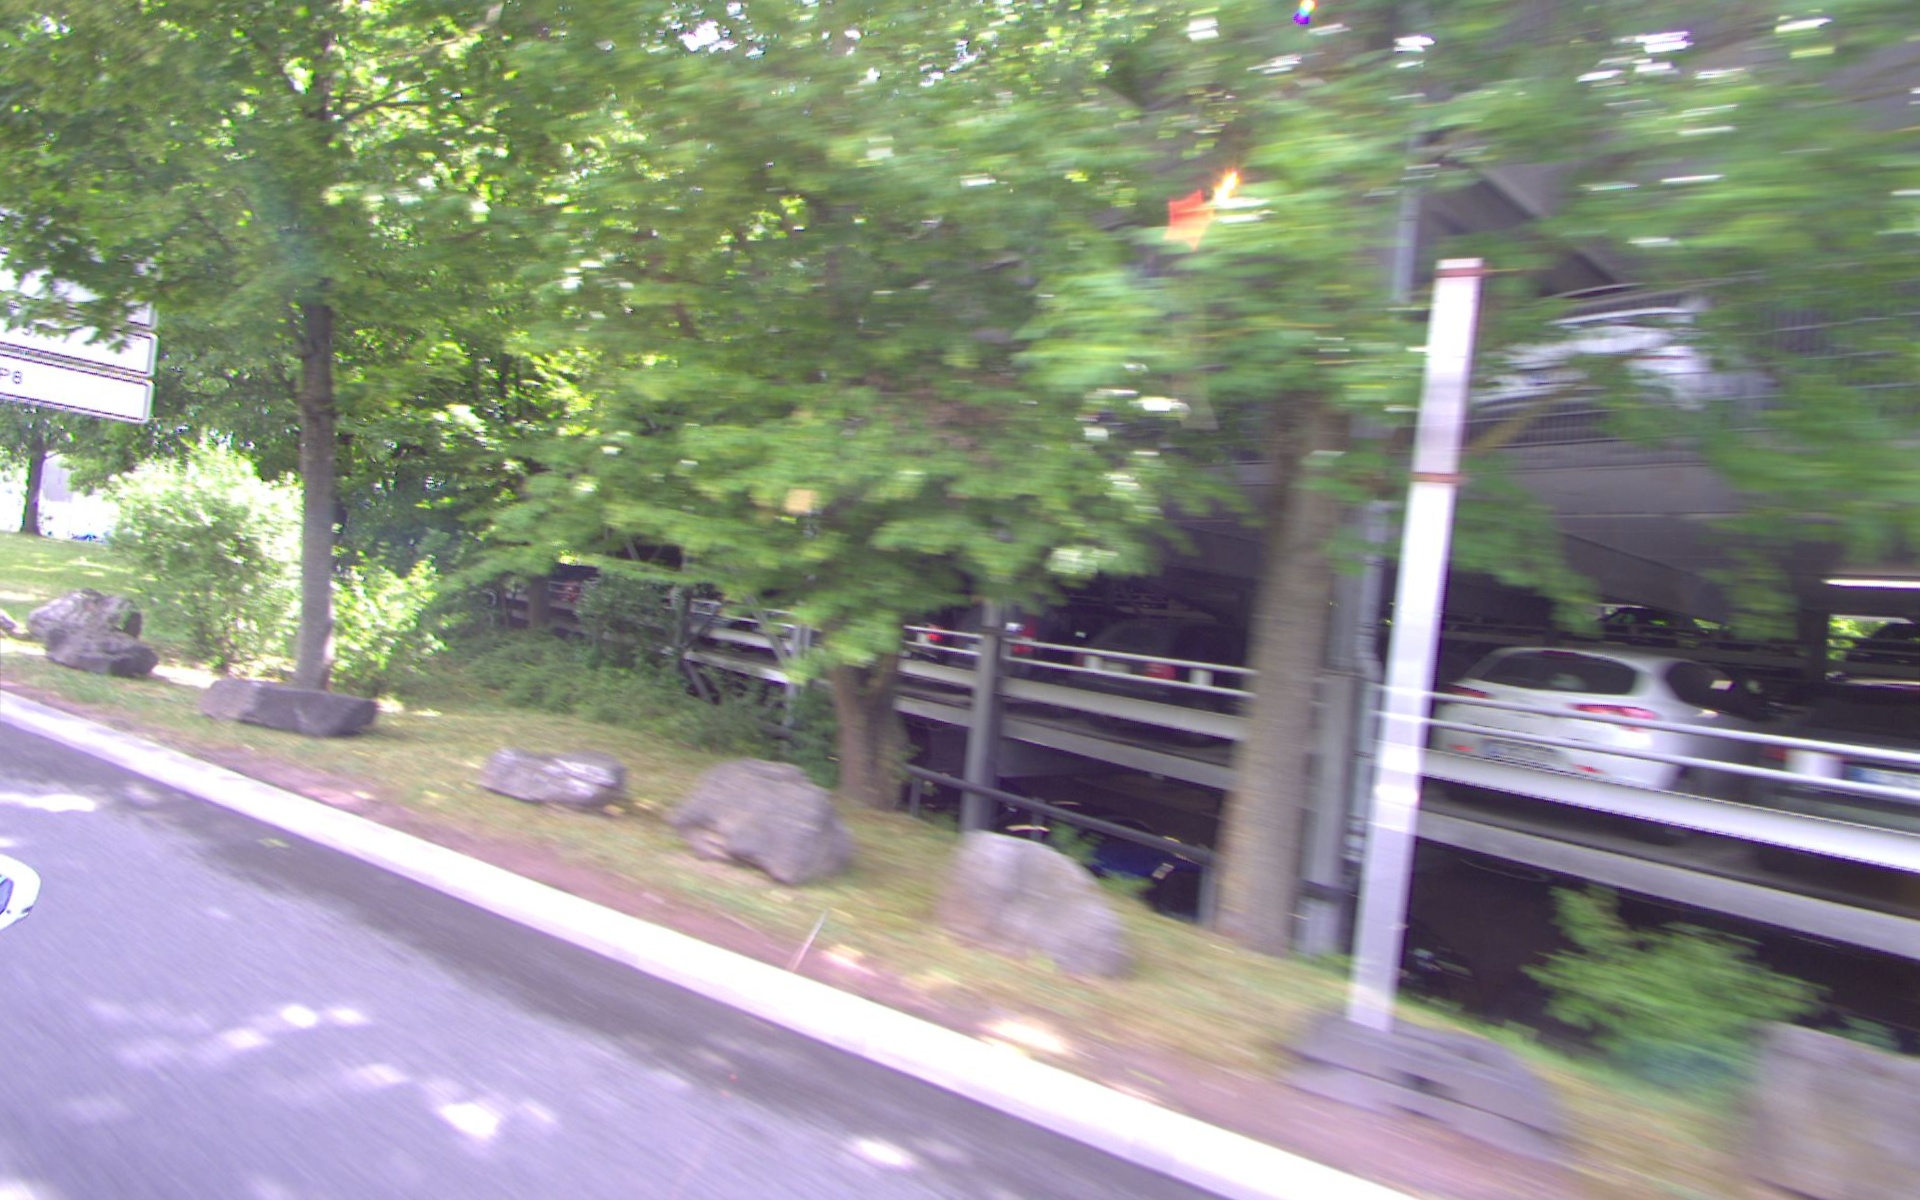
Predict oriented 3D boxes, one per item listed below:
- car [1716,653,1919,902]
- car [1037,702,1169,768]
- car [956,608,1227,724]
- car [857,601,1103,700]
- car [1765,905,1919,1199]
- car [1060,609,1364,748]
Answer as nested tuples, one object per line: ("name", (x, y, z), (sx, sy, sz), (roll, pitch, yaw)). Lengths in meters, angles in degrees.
("car", (7.064, 1.159, 7.197), (3.824, 1.410, 1.794), (3, -1, -40))
("car", (4.191, 3.872, 29.216), (3.822, 1.466, 1.678), (1, 1, -40))
("car", (1.966, 0.917, 14.422), (3.824, 1.410, 1.678), (3, -1, -40))
("car", (0.394, 0.820, 16.415), (3.824, 1.410, 1.678), (3, -1, -40))
("car", (7.628, 3.554, 7.563), (3.826, 1.471, 1.817), (3, -1, -42))
("car", (3.184, 0.919, 12.366), (3.824, 1.410, 1.678), (3, -1, -40))
